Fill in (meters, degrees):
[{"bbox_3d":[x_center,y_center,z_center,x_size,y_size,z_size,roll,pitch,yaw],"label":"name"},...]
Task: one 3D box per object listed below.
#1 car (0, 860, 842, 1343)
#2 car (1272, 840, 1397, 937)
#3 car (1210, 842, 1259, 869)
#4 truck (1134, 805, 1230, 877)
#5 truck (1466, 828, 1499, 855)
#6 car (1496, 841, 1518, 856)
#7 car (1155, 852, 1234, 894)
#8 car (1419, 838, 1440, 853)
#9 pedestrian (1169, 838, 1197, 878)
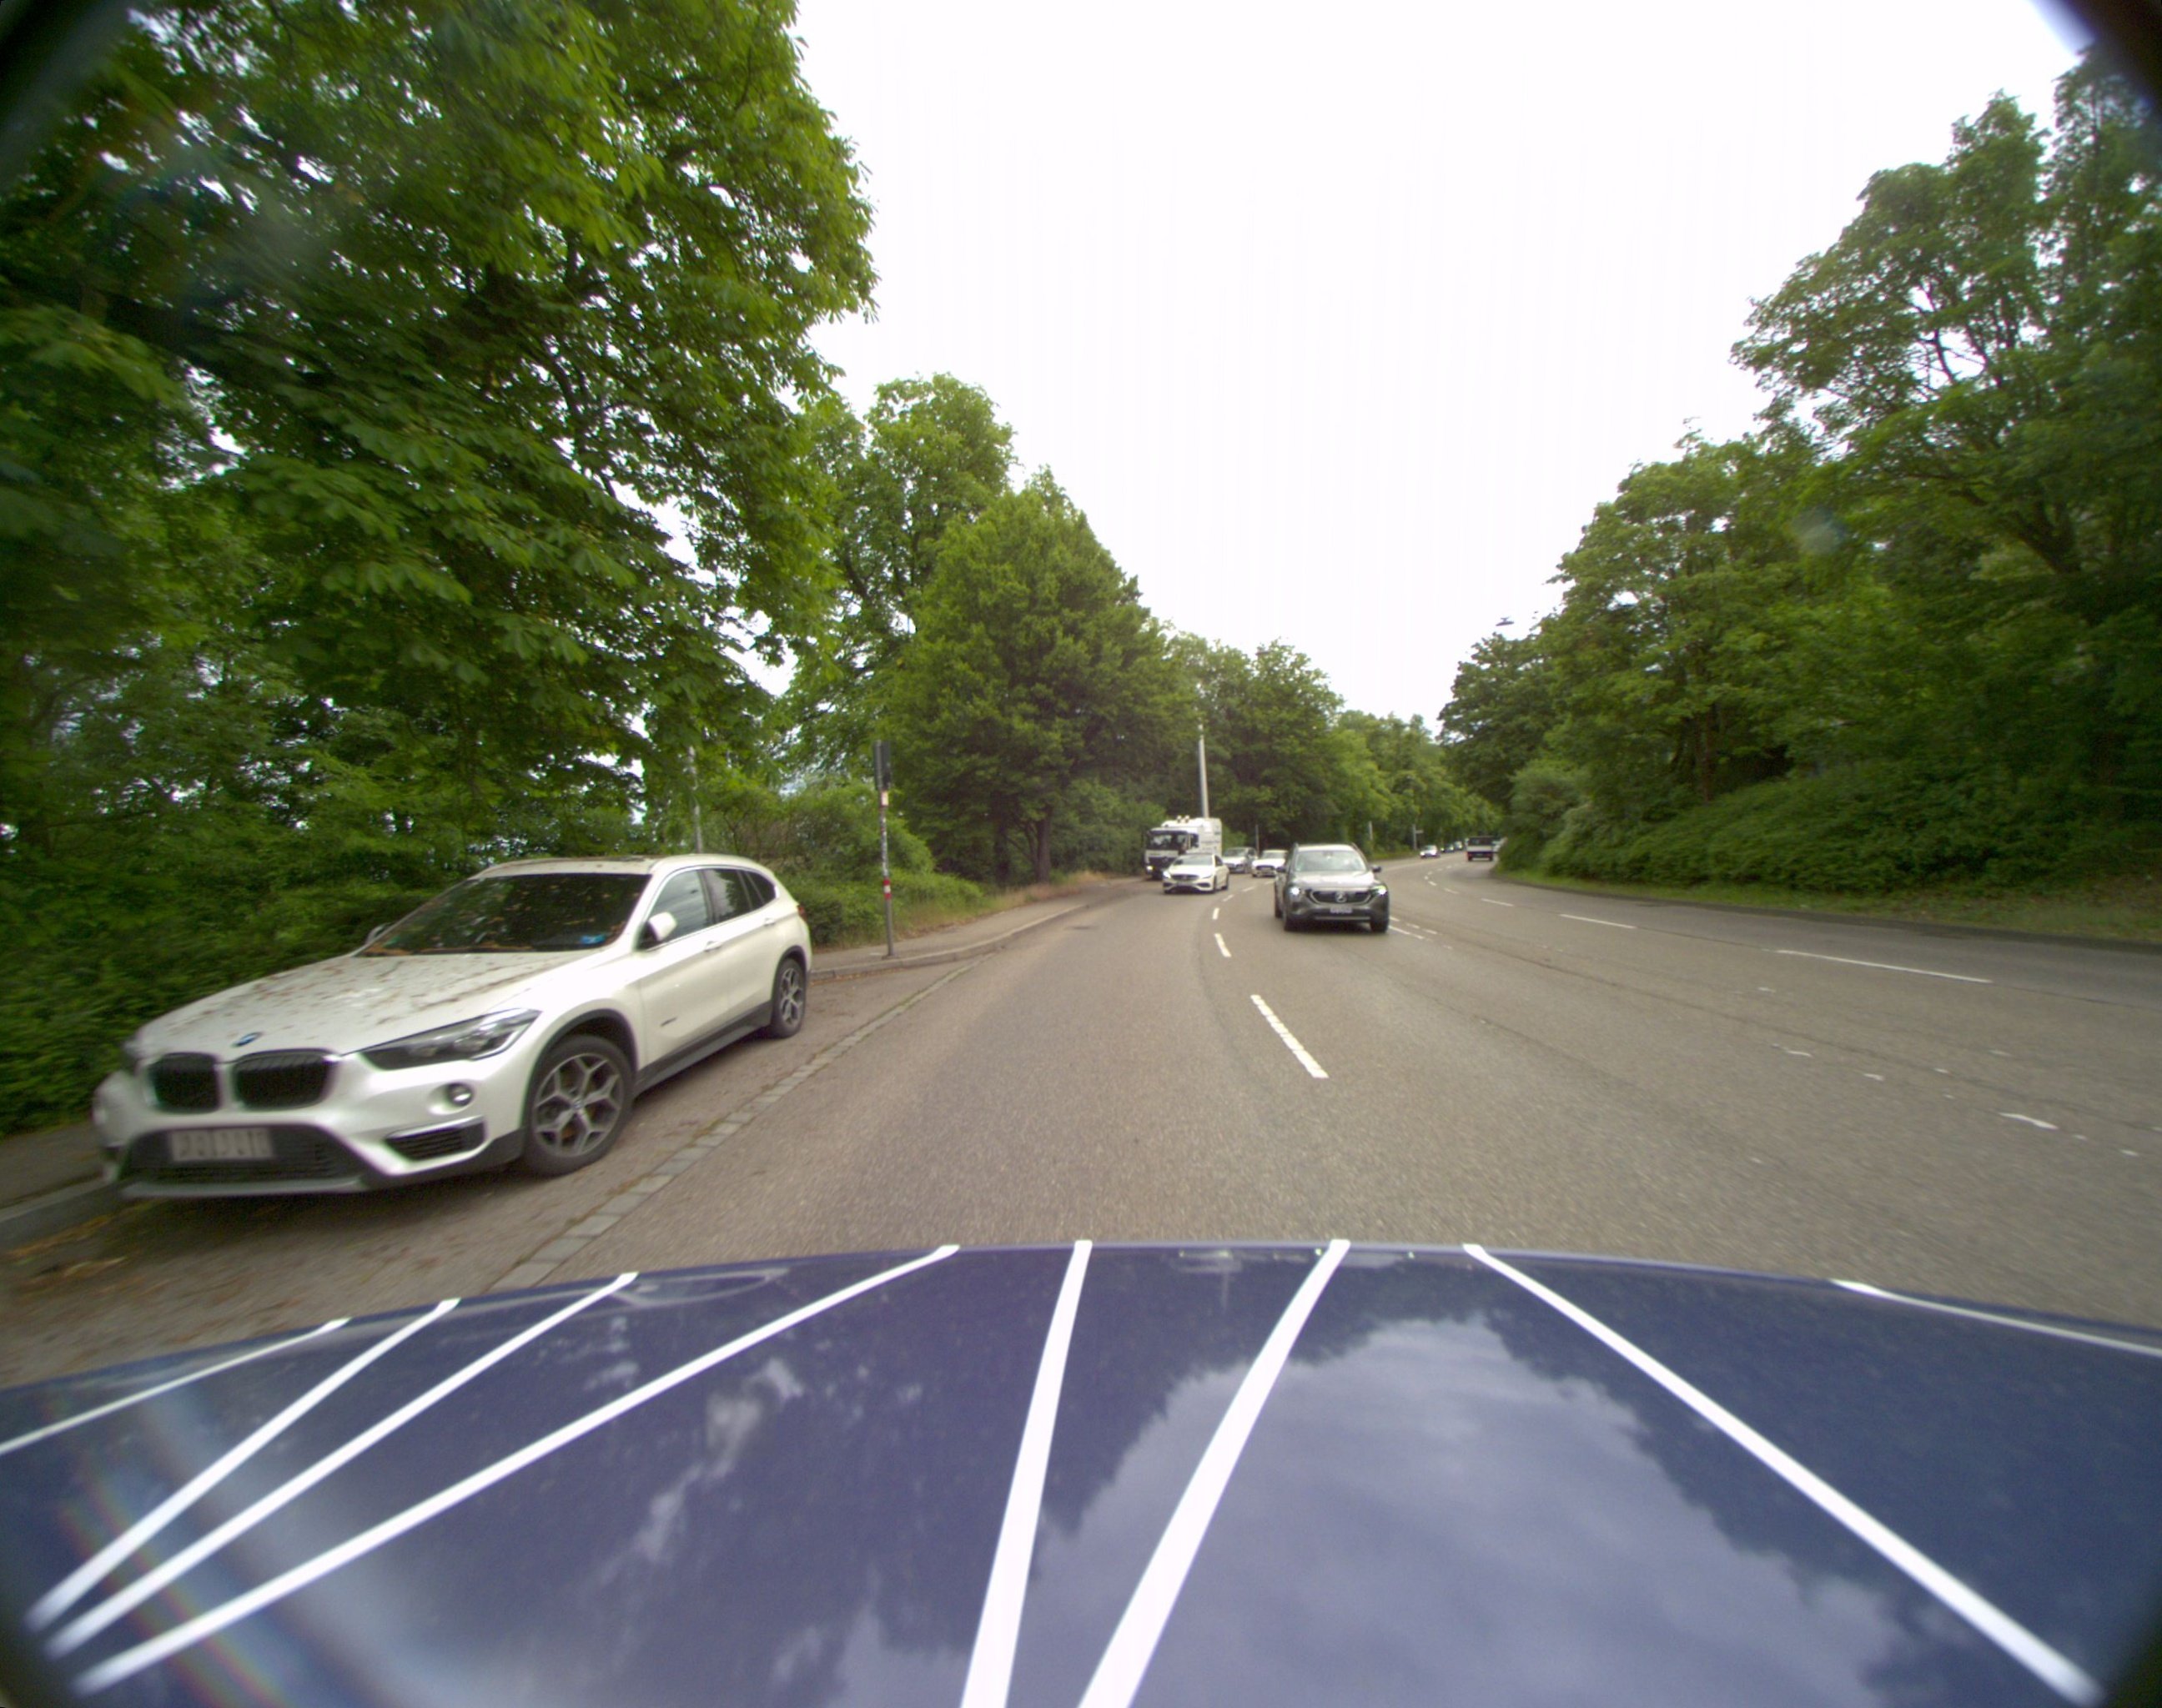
[{"bbox_3d":[-3.274,0.920,4.952,1.762,1.643,4.381,-1,1,4],"label":"car"},{"bbox_3d":[4.908,0.571,15.262,1.869,1.653,4.195,-1,1,12],"label":"car"},{"bbox_3d":[9.531,0.077,47.055,1.804,1.515,4.007,-4,0,28],"label":"car"},{"bbox_3d":[5.298,-0.665,38.632,2.484,3.163,7.240,-4,0,26],"label":"truck"},{"bbox_3d":[37.377,-1.159,70.650,2.162,2.357,6.691,-2,0,32],"label":"truck"},{"bbox_3d":[50.931,-0.708,90.793,1.856,1.685,4.444,3,3,34],"label":"car"},{"bbox_3d":[4.210,0.639,27.512,1.894,1.289,4.333,-1,1,21],"label":"car"},{"bbox_3d":[38.791,-0.948,84.689,1.695,1.573,4.005,-4,0,20],"label":"car"},{"bbox_3d":[4.714,0.187,35.137,0.917,1.823,0.986,2,1,31],"label":"pedestrian"}]
